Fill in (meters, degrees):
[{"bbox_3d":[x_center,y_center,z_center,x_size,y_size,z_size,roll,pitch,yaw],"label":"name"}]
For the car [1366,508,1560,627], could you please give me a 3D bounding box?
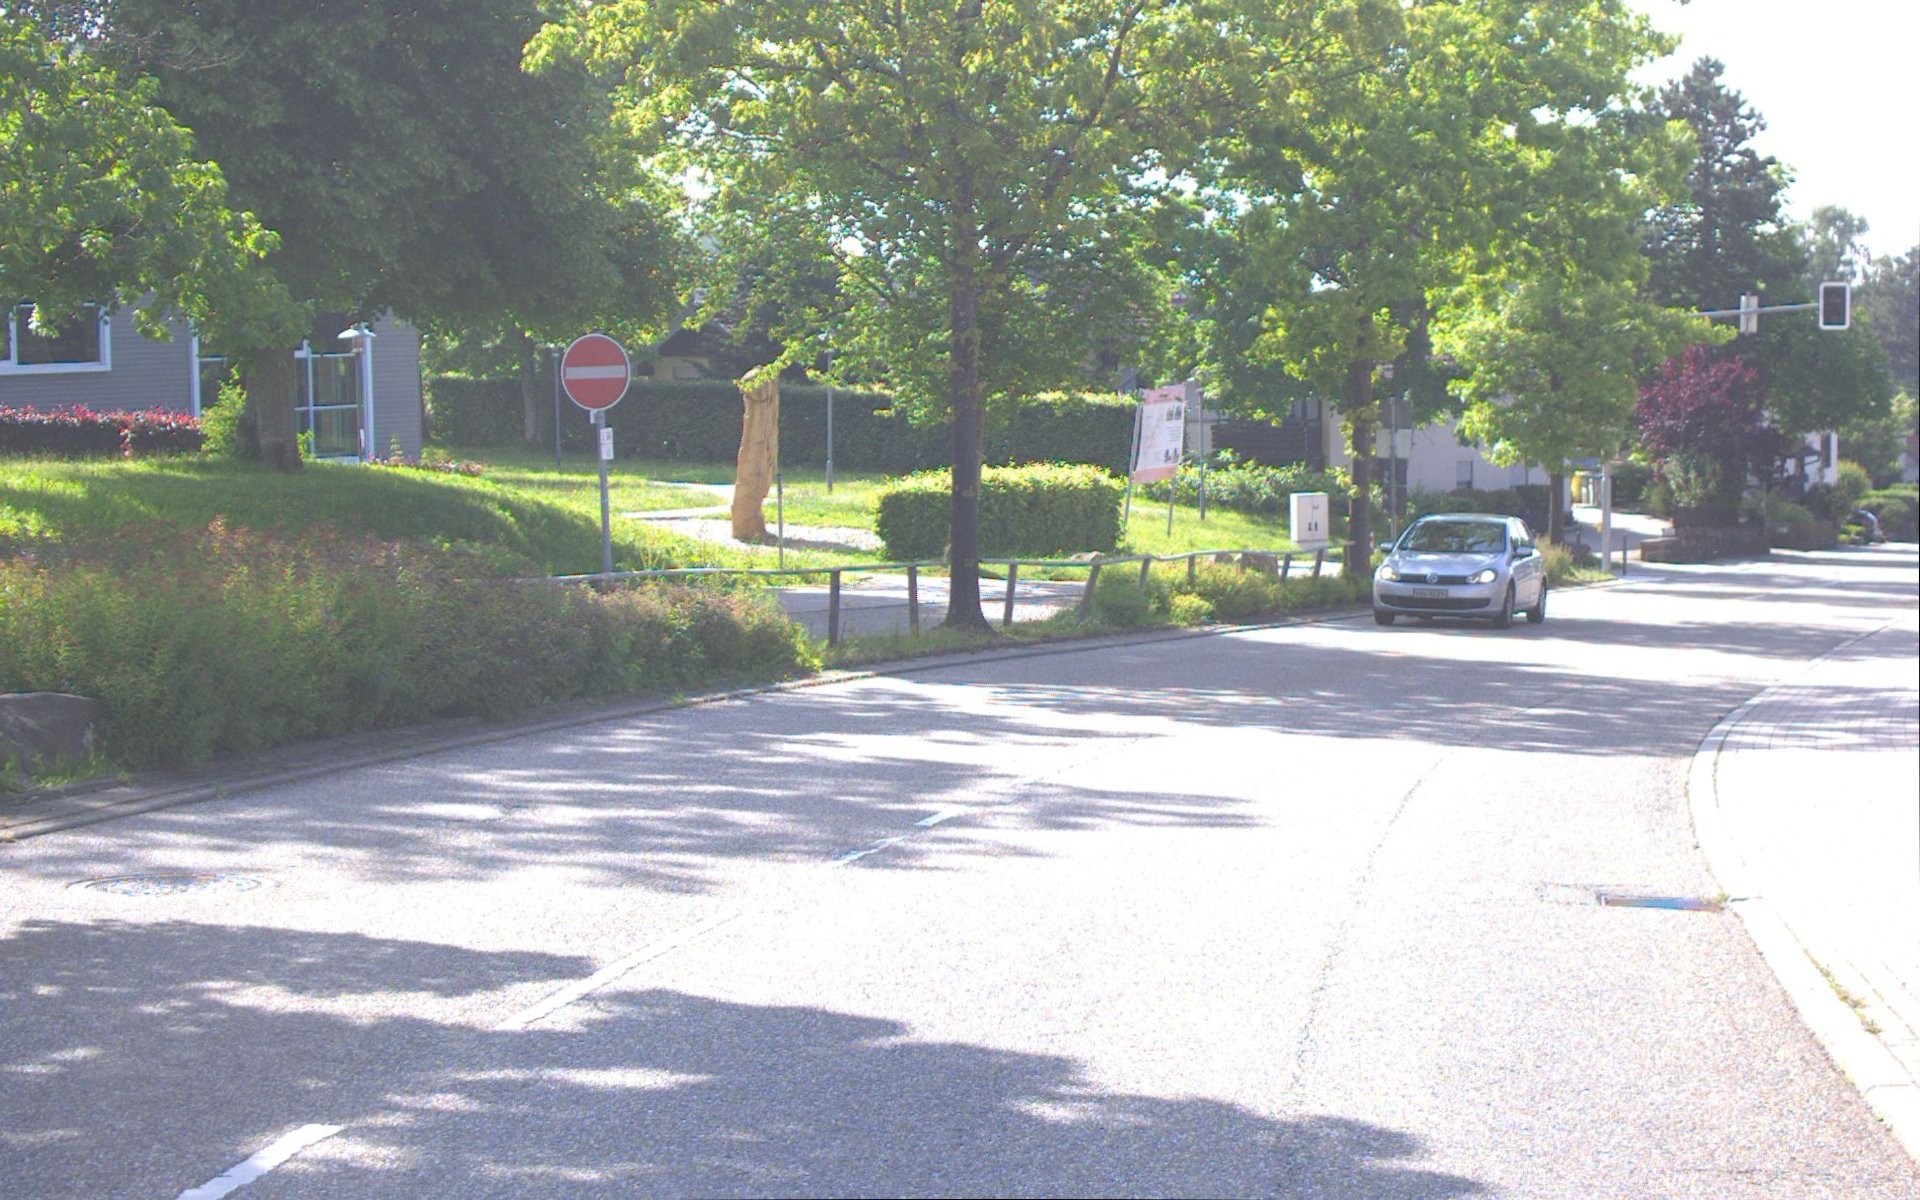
[{"bbox_3d":[6.703,-0.464,45.513,1.731,1.438,4.061,2,2,20],"label":"car"}]
